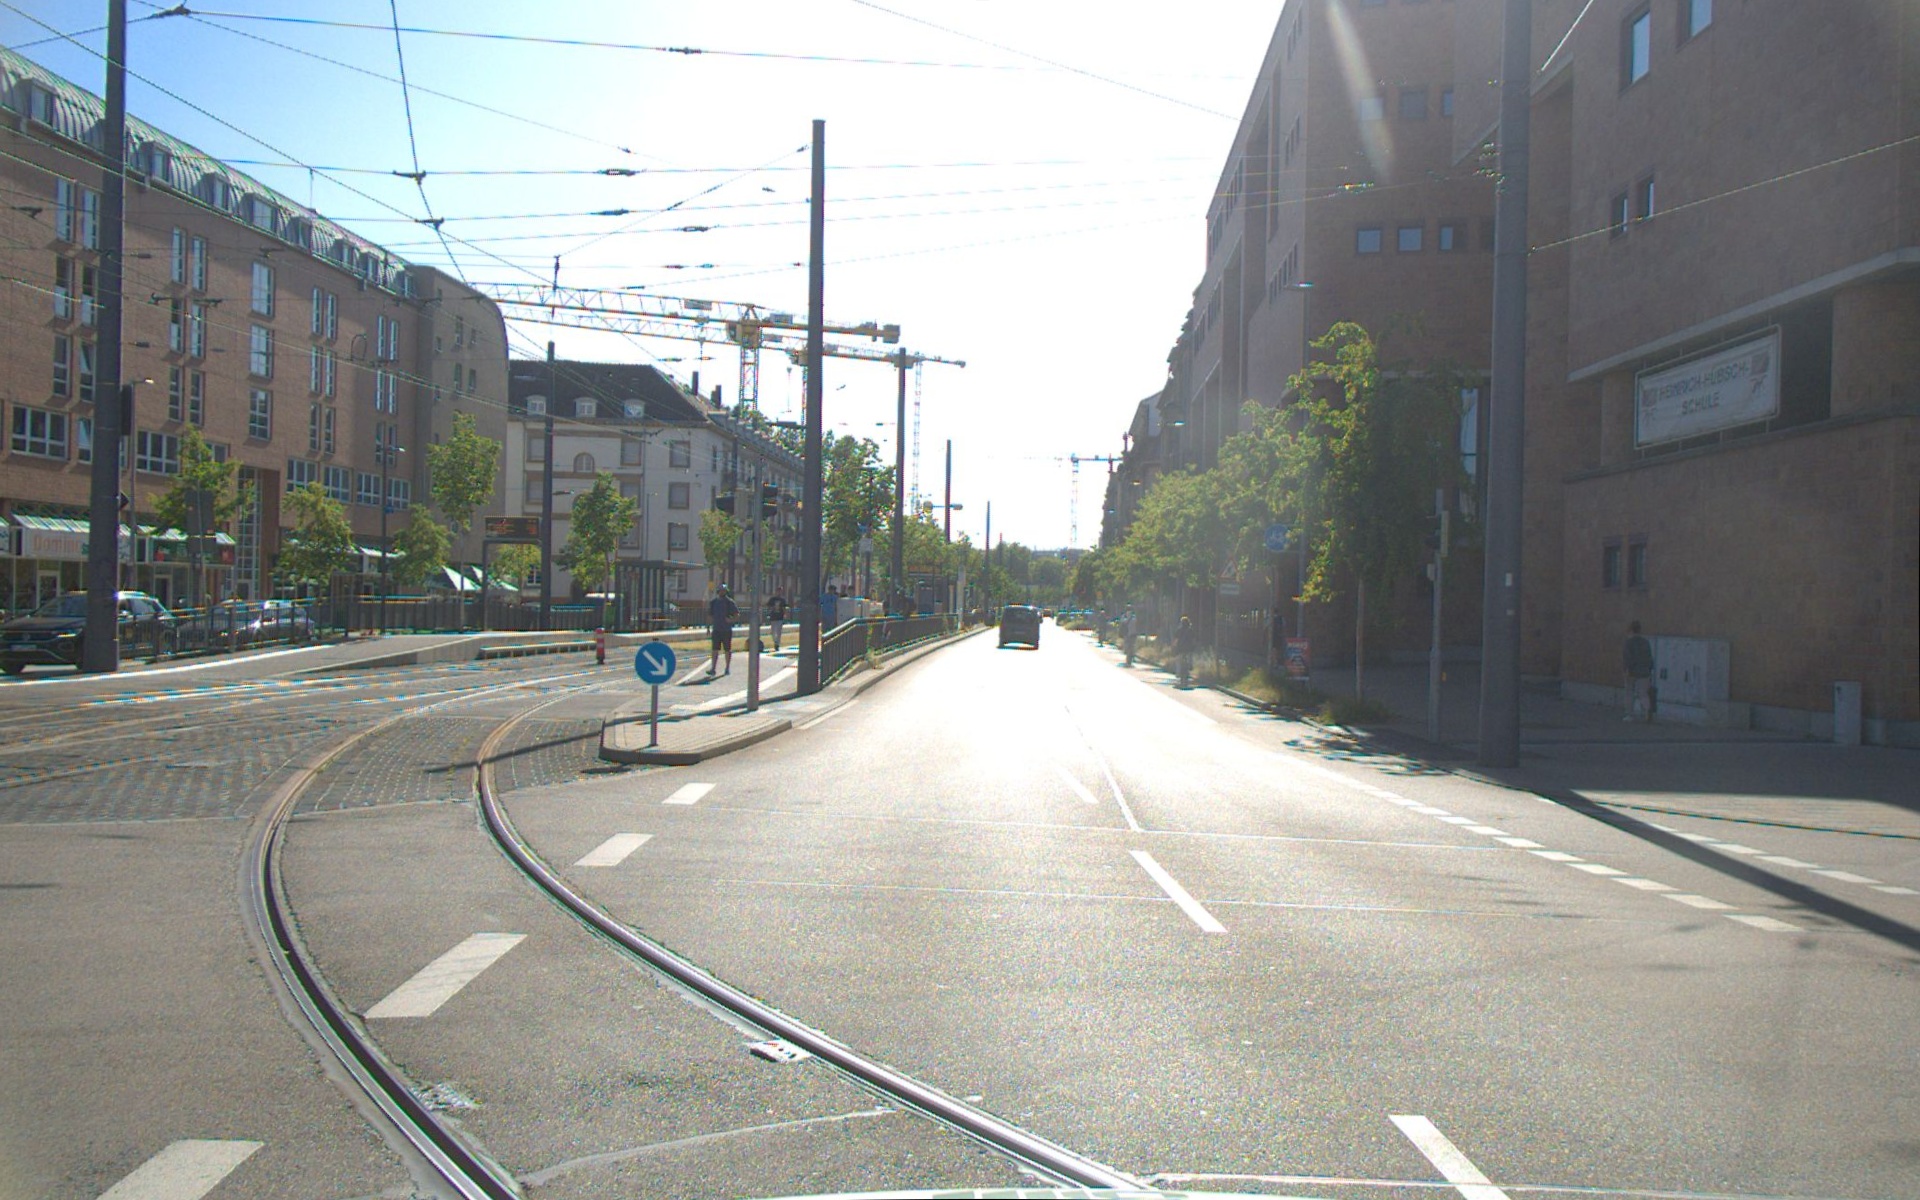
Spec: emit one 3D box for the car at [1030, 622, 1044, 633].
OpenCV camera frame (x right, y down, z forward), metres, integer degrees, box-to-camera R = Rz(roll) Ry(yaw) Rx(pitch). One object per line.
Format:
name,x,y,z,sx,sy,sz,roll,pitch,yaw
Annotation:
car,10.658,3.756,229.172,1.952,1.445,4.001,1,0,2

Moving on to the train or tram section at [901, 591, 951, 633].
train or tram section,-2.557,0.903,128.640,2.277,3.055,13.167,2,0,5

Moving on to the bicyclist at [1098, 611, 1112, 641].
bicyclist,7.624,1.382,87.120,0.653,1.553,0.707,1,-1,0

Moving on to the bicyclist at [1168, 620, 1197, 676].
bicyclist,5.575,1.198,41.551,0.580,1.359,0.933,1,-1,0

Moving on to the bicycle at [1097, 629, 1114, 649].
bicycle,7.631,2.031,87.004,0.653,1.002,2.586,1,-1,0

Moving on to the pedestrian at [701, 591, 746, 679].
pedestrian,-4.628,0.677,32.408,0.601,1.698,0.865,-2,0,9

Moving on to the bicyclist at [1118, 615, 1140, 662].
bicyclist,5.731,1.305,56.194,0.653,1.553,0.707,1,-1,0

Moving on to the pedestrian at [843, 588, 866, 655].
pedestrian,-2.679,0.547,42.066,0.527,1.684,0.706,1,-1,0

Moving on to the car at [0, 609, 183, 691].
car,-17.249,0.952,32.864,1.576,1.422,3.921,-3,0,3

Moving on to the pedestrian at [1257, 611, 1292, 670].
pedestrian,9.417,1.205,49.613,0.862,1.747,0.931,1,-1,0

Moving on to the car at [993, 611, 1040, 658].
car,2.450,1.496,72.710,1.952,1.982,4.000,1,-1,0

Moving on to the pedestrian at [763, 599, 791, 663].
pedestrian,-4.643,0.776,42.029,0.588,1.594,0.914,1,-1,0

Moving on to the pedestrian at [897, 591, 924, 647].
pedestrian,-1.571,0.594,52.830,0.704,1.766,0.599,1,-1,-17

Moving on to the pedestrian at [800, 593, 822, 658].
pedestrian,-4.172,0.721,46.396,0.527,1.805,0.633,1,-1,0

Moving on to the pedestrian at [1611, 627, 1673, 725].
pedestrian,11.317,1.244,27.455,0.605,1.590,0.987,1,-1,0

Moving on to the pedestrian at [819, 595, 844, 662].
pedestrian,-3.262,0.718,41.896,0.527,1.684,0.896,1,-1,0

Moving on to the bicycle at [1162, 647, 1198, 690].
bicycle,5.584,1.723,42.092,0.590,1.002,2.314,1,-1,0

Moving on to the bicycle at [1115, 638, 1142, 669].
bicycle,5.725,1.803,56.287,0.653,1.002,2.586,1,-1,0

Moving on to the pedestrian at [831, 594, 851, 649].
pedestrian,-3.653,0.659,50.637,0.527,1.684,0.633,1,-1,0

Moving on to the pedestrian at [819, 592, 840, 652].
pedestrian,-3.440,0.584,43.707,0.508,1.578,0.600,1,-1,-2

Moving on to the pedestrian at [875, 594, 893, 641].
pedestrian,-2.763,0.641,60.137,0.588,1.684,0.666,1,-1,0

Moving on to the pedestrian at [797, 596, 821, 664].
pedestrian,-3.804,0.747,41.636,0.499,1.684,0.761,1,-1,0

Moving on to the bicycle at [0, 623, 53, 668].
bicycle,-29.160,1.384,50.743,2.431,1.333,0.734,1,-1,12

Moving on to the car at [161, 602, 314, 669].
car,-17.058,0.797,39.259,1.576,1.422,4.229,-3,0,3
